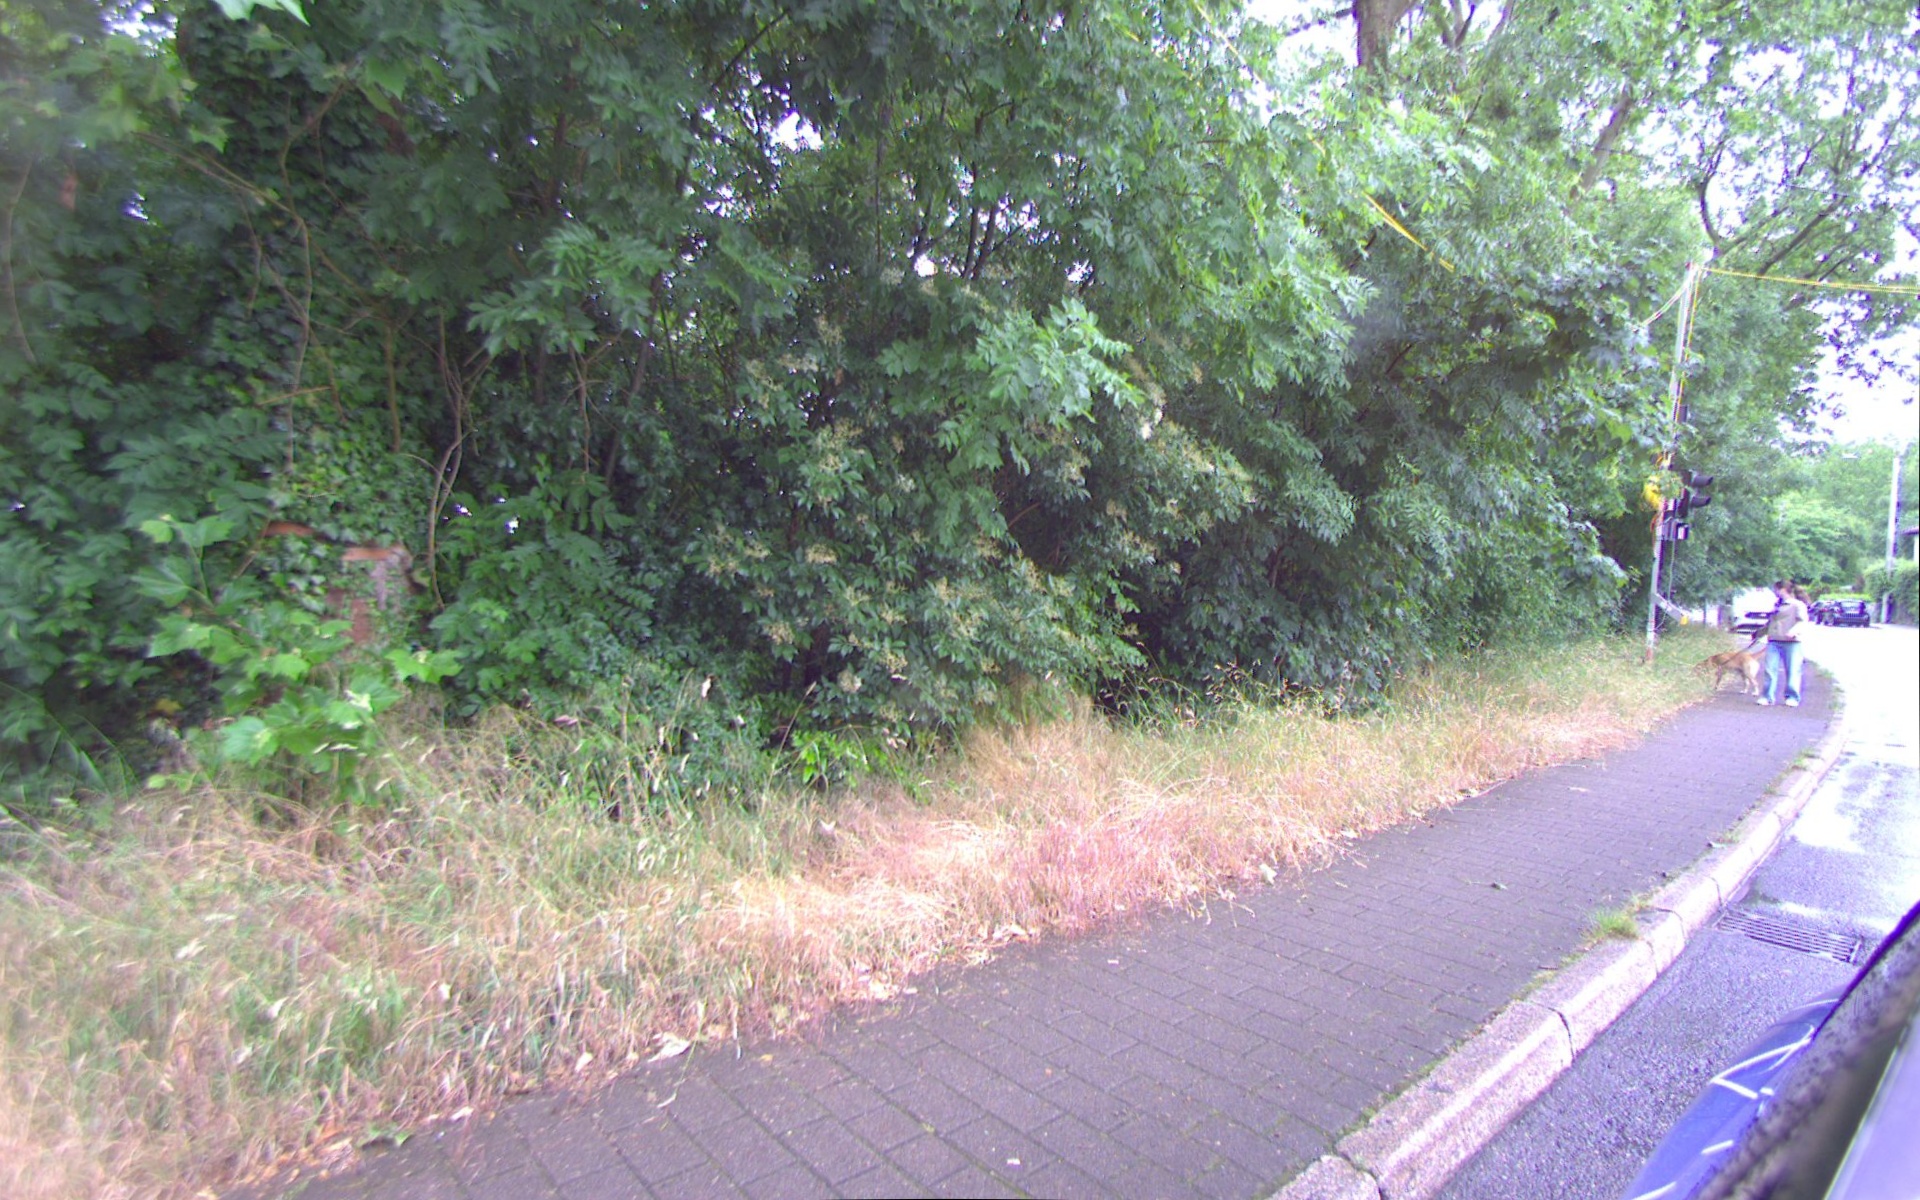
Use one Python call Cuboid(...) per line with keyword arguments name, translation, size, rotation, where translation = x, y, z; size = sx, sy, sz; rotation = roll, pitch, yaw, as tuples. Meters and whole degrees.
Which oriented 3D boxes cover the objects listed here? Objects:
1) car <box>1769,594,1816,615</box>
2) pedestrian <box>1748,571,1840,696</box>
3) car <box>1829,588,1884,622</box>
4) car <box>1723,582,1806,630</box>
Cuboid(name="car", translation=(60.751, 0.301, 73.919), size=(2.055, 1.504, 4.508), rotation=(1, 1, 33))
Cuboid(name="pedestrian", translation=(10.651, 0.404, 12.923), size=(0.771, 1.517, 0.734), rotation=(0, 3, -42))
Cuboid(name="car", translation=(51.063, 0.285, 57.707), size=(1.869, 1.848, 4.075), rotation=(1, 1, 35))
Cuboid(name="car", translation=(34.537, 0.204, 43.591), size=(2.086, 1.943, 5.035), rotation=(0, 0, 31))
